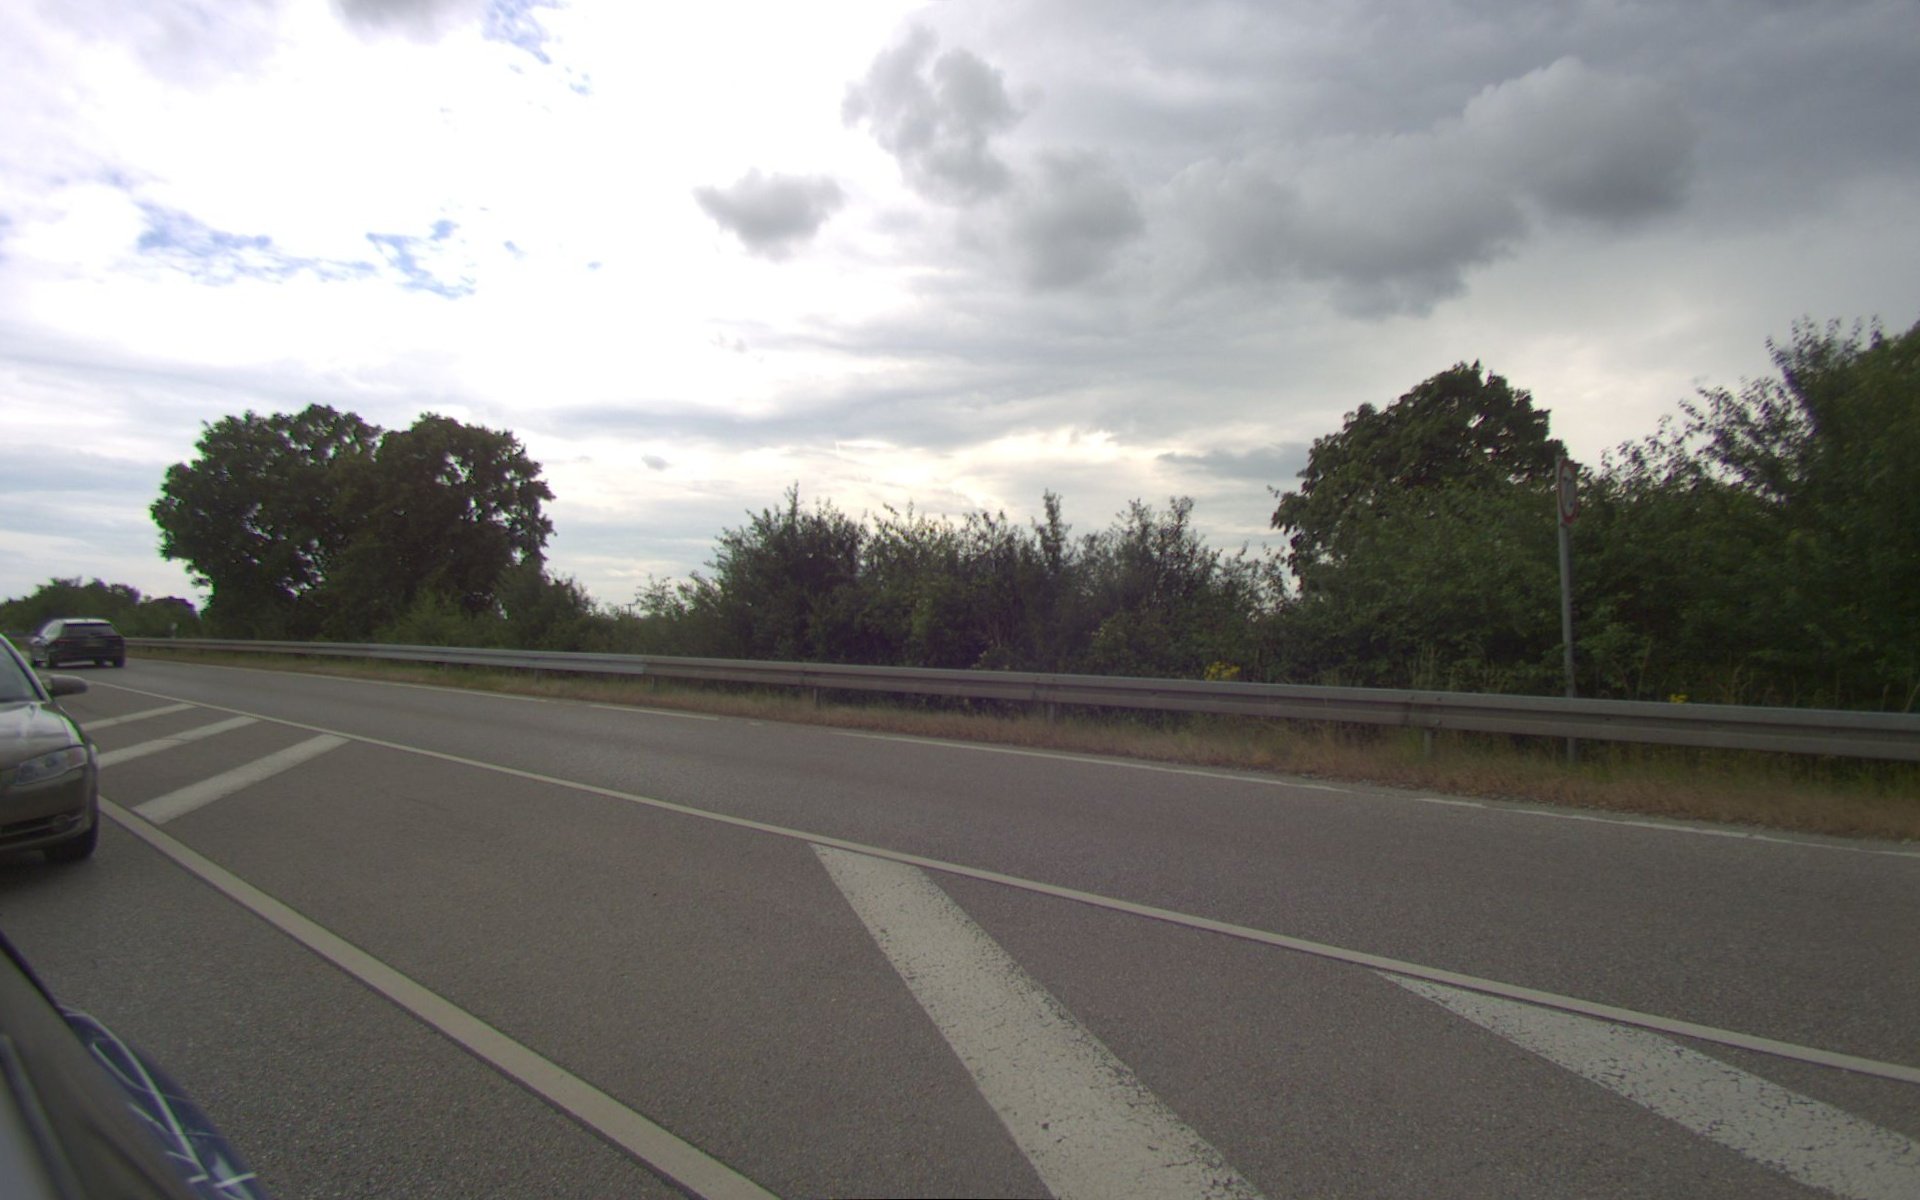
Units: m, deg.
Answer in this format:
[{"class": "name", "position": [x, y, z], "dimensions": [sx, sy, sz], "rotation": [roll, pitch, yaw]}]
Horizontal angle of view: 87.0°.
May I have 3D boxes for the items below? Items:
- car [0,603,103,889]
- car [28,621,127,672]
[{"class": "car", "position": [-6.736, 0.791, 6.152], "dimensions": [4.032, 1.461, 1.761], "rotation": [-2, -1, 41]}, {"class": "car", "position": [-26.722, 1.344, 30.604], "dimensions": [4.611, 1.385, 1.800], "rotation": [-1, -1, 43]}]
